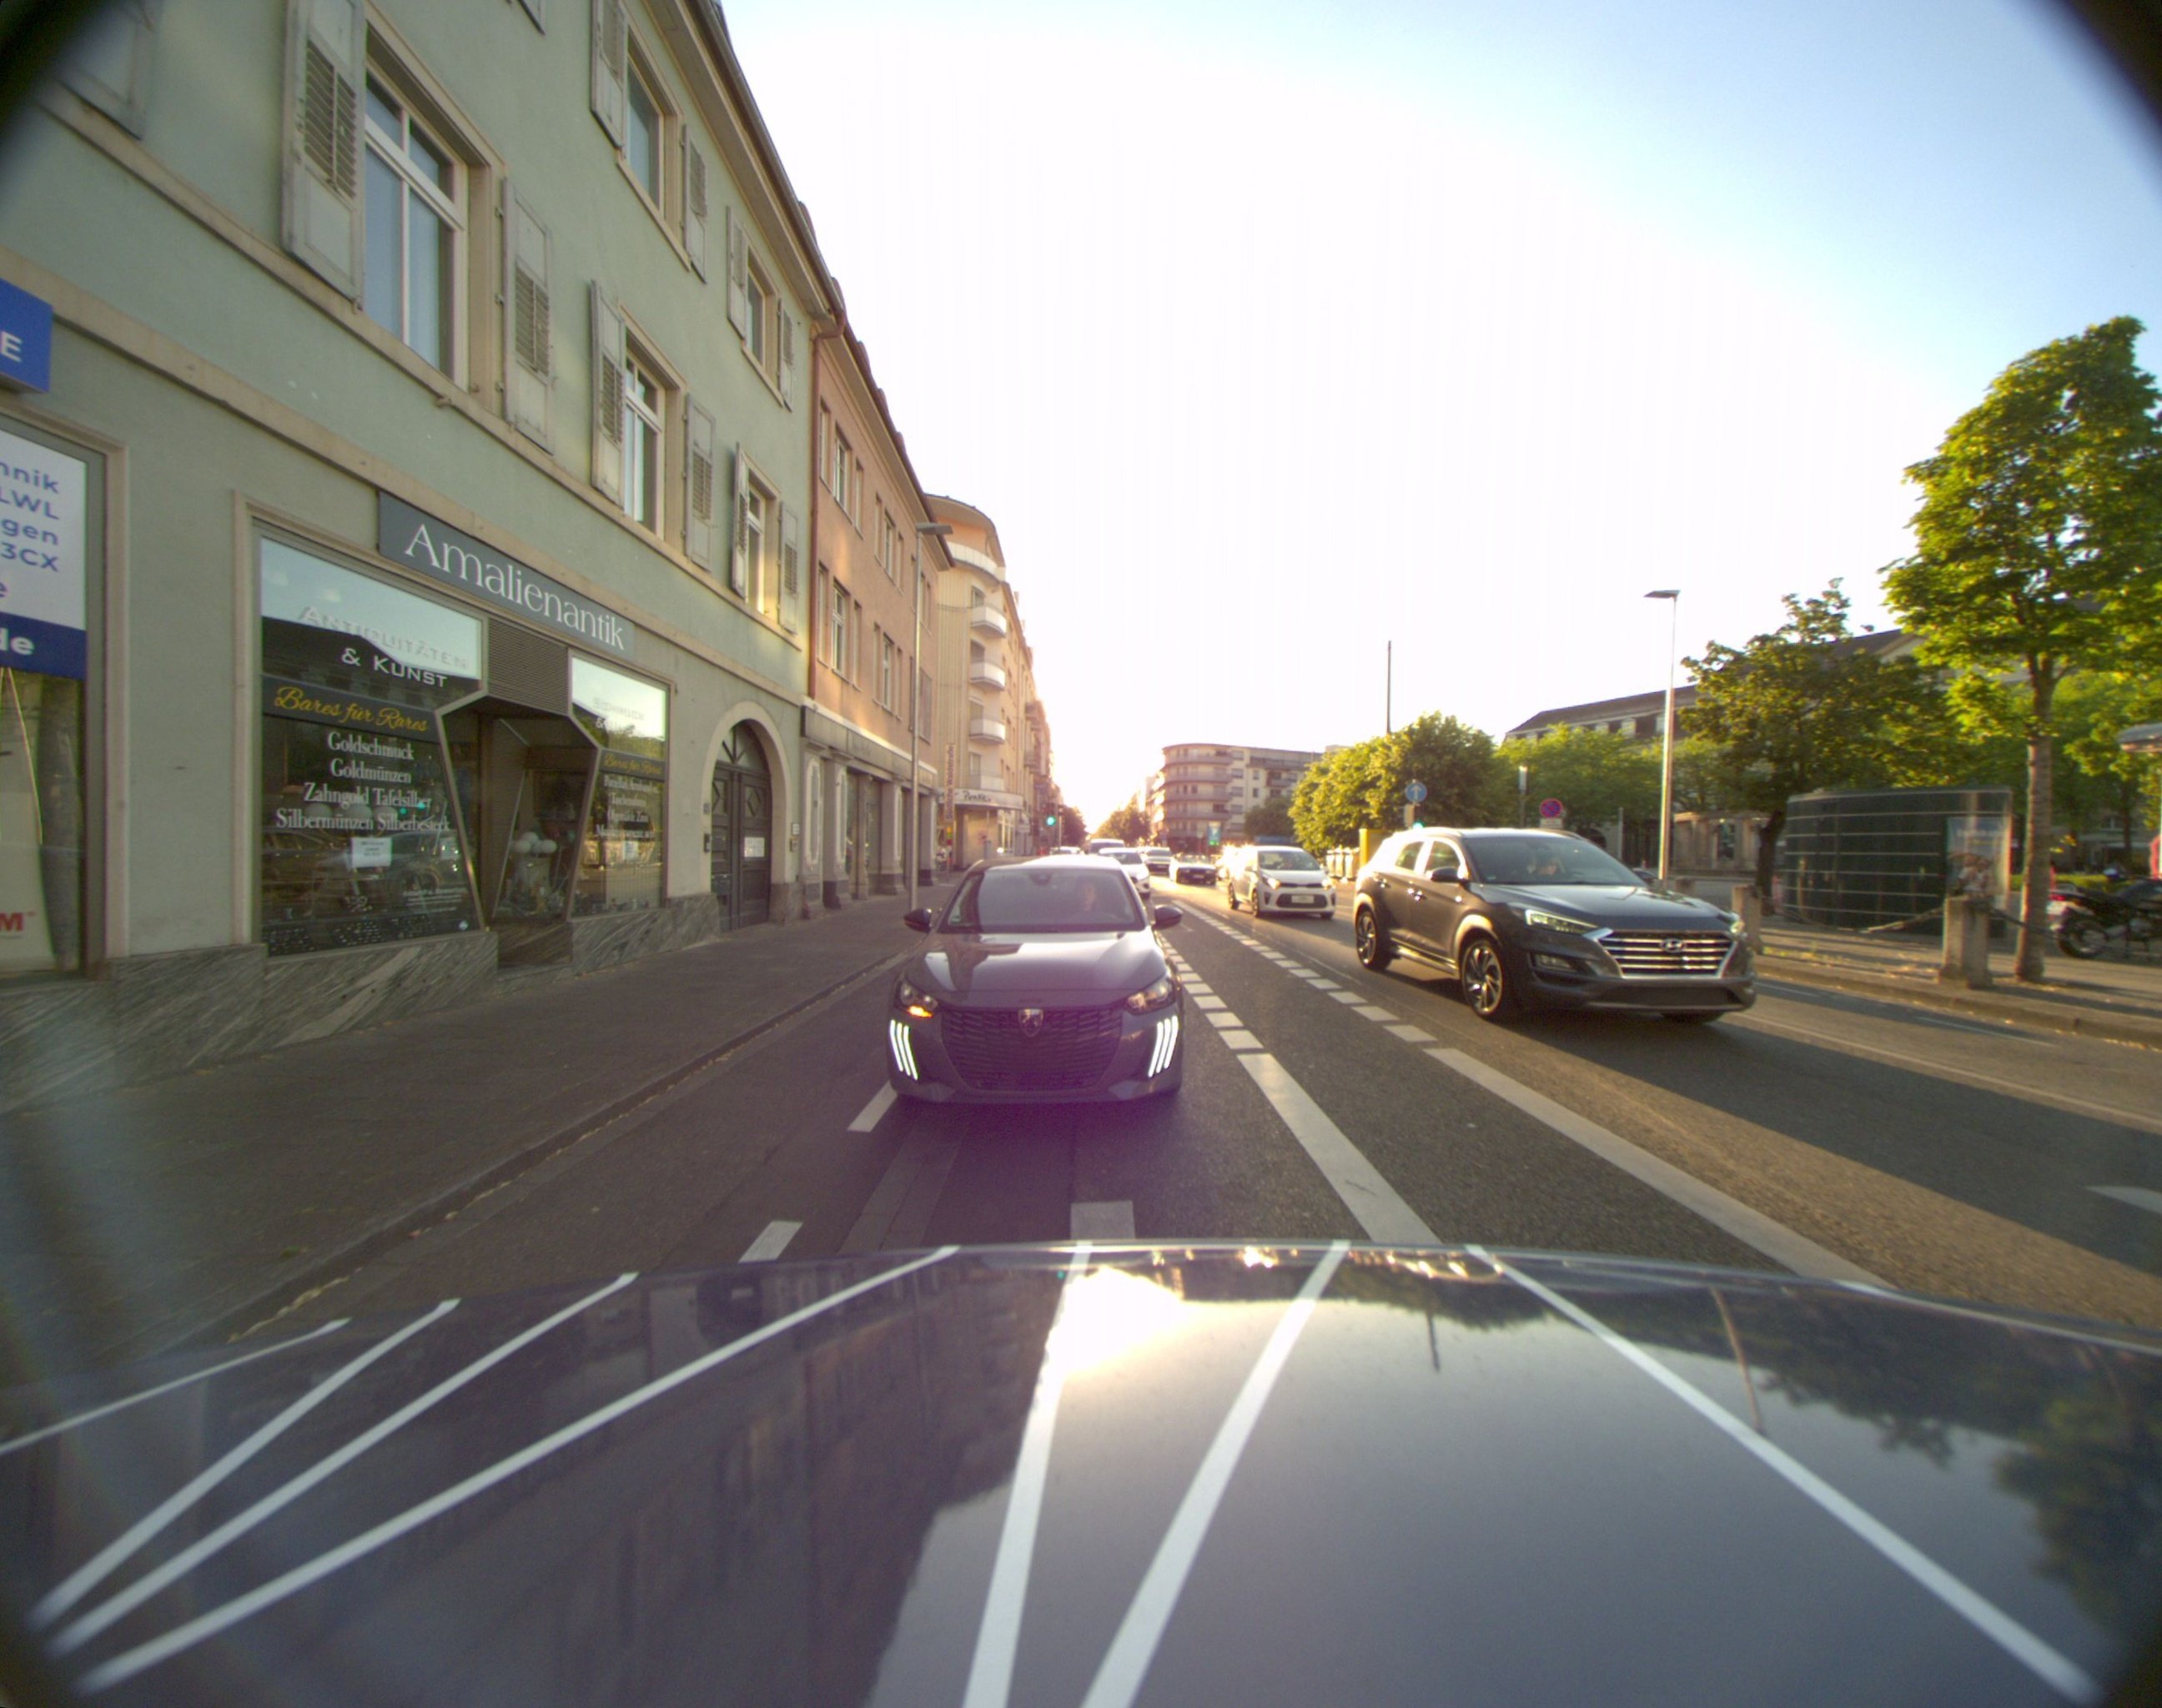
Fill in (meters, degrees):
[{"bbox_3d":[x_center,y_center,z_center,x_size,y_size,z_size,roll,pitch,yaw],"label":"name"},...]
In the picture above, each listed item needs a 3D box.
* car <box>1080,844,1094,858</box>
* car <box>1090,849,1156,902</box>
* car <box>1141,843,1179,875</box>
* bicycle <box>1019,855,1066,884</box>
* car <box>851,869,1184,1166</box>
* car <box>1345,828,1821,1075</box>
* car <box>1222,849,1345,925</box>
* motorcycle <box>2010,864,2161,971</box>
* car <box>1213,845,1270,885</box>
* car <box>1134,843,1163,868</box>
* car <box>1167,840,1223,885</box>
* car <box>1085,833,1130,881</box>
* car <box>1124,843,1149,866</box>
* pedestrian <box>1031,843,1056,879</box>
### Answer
[{"bbox_3d":[0.886,-0.449,111.245,1.998,2.002,3.999,1,1,0],"label":"car"},{"bbox_3d":[1.219,0.588,23.235,1.827,1.463,3.985,0,1,1],"label":"car"},{"bbox_3d":[4.679,0.275,45.324,1.827,1.731,3.985,2,1,1],"label":"car"},{"bbox_3d":[-1.463,0.581,29.116,1.702,1.051,0.563,1,1,11],"label":"bicycle"},{"bbox_3d":[-0.232,0.891,5.940,1.750,1.434,3.906,0,1,3],"label":"car"},{"bbox_3d":[4.225,0.659,7.415,1.827,1.688,4.259,1,1,1],"label":"car"},{"bbox_3d":[4.361,0.642,16.980,1.718,1.463,3.985,1,1,1],"label":"car"},{"bbox_3d":[14.754,0.883,10.726,2.399,1.438,0.700,1,1,-1],"label":"motorcycle"},{"bbox_3d":[7.648,0.475,36.510,1.827,1.688,3.984,4,1,1],"label":"car"},{"bbox_3d":[4.853,0.091,55.056,1.880,1.761,4.000,1,1,2],"label":"car"},{"bbox_3d":[4.854,0.335,32.833,1.827,1.731,3.985,2,1,1],"label":"car"},{"bbox_3d":[1.152,0.109,34.121,1.827,1.918,3.985,2,1,1],"label":"car"},{"bbox_3d":[4.463,0.040,61.581,1.880,1.761,4.000,1,1,2],"label":"car"},{"bbox_3d":[-1.434,0.267,29.114,0.858,1.343,0.563,1,1,11],"label":"pedestrian"}]
